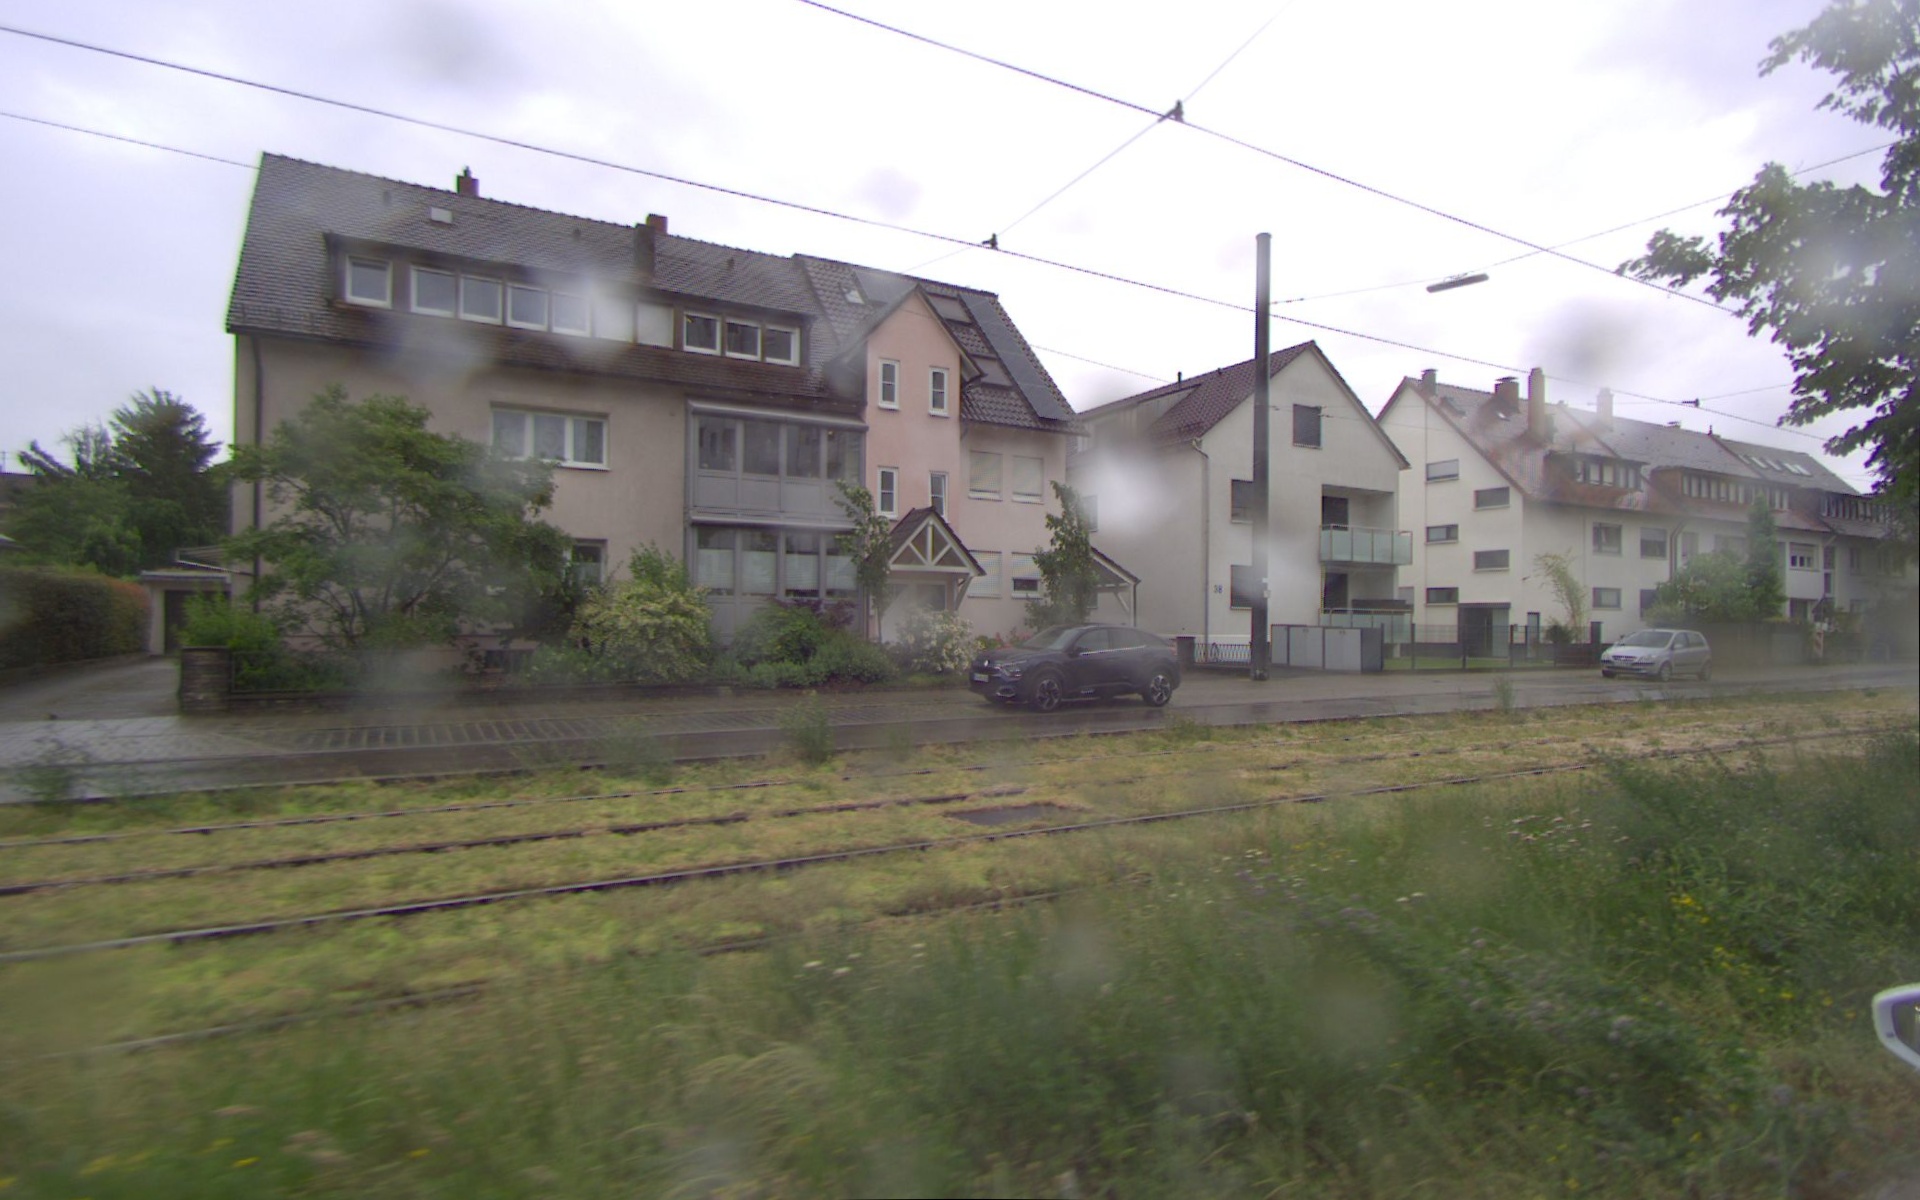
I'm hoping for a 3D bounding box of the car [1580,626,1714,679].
[{"bbox_3d":[20.554,1.561,30.043,3.616,1.432,1.983,2,-1,-31],"label":"car"}]

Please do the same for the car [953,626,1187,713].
[{"bbox_3d":[2.117,1.269,18.998,4.127,1.445,1.827,2,-1,-31],"label":"car"}]
